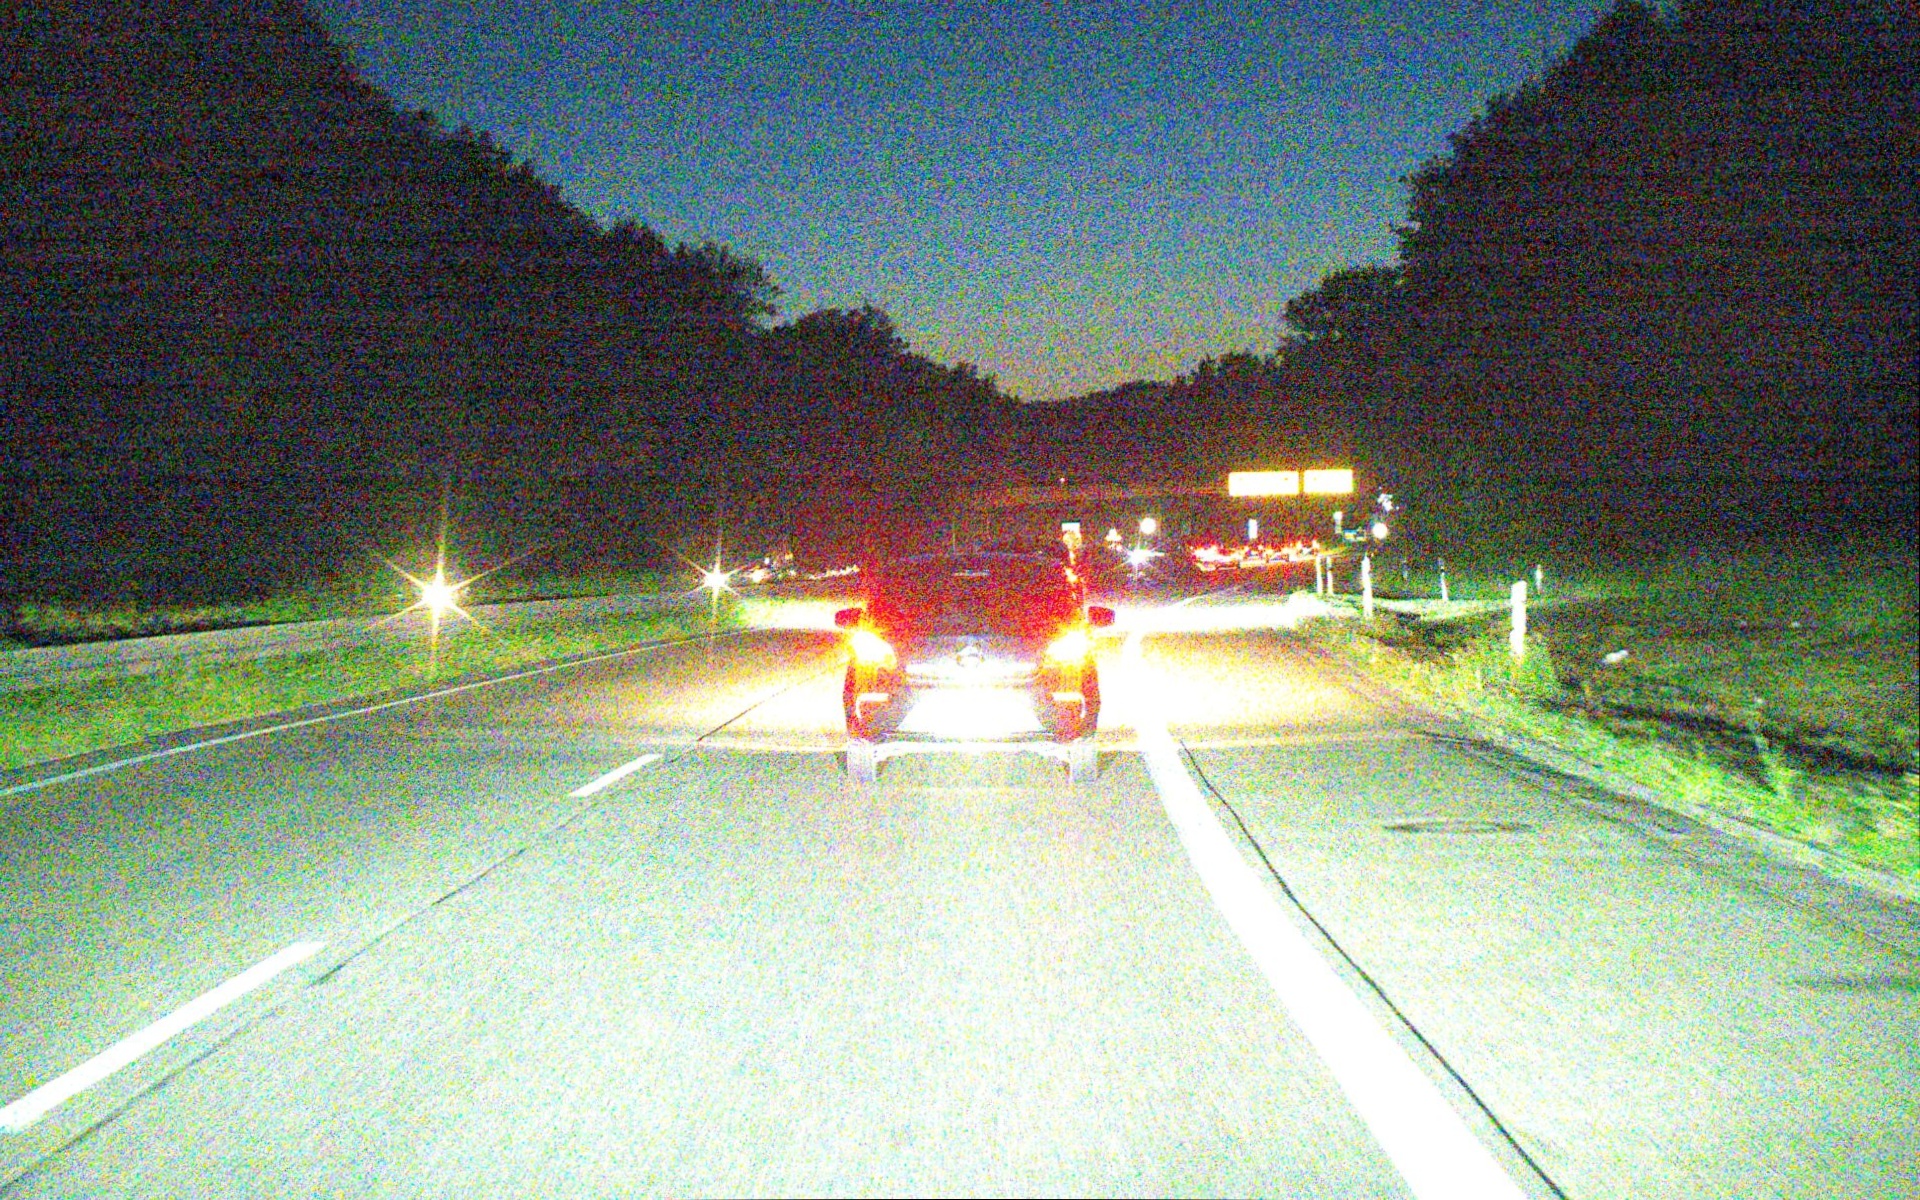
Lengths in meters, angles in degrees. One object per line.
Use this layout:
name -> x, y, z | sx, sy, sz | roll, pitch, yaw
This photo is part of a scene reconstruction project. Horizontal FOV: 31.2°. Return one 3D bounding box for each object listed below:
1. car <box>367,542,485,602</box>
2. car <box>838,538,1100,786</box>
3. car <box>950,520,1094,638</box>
car -> -14.419, -0.778, 92.998 | 1.822, 1.437, 4.474 | -3, 1, 9
car -> 0.055, 0.344, 23.061 | 1.588, 1.503, 4.000 | 1, 1, 0
car -> 0.985, -0.349, 52.621 | 1.907, 1.692, 4.000 | -1, 1, 5
